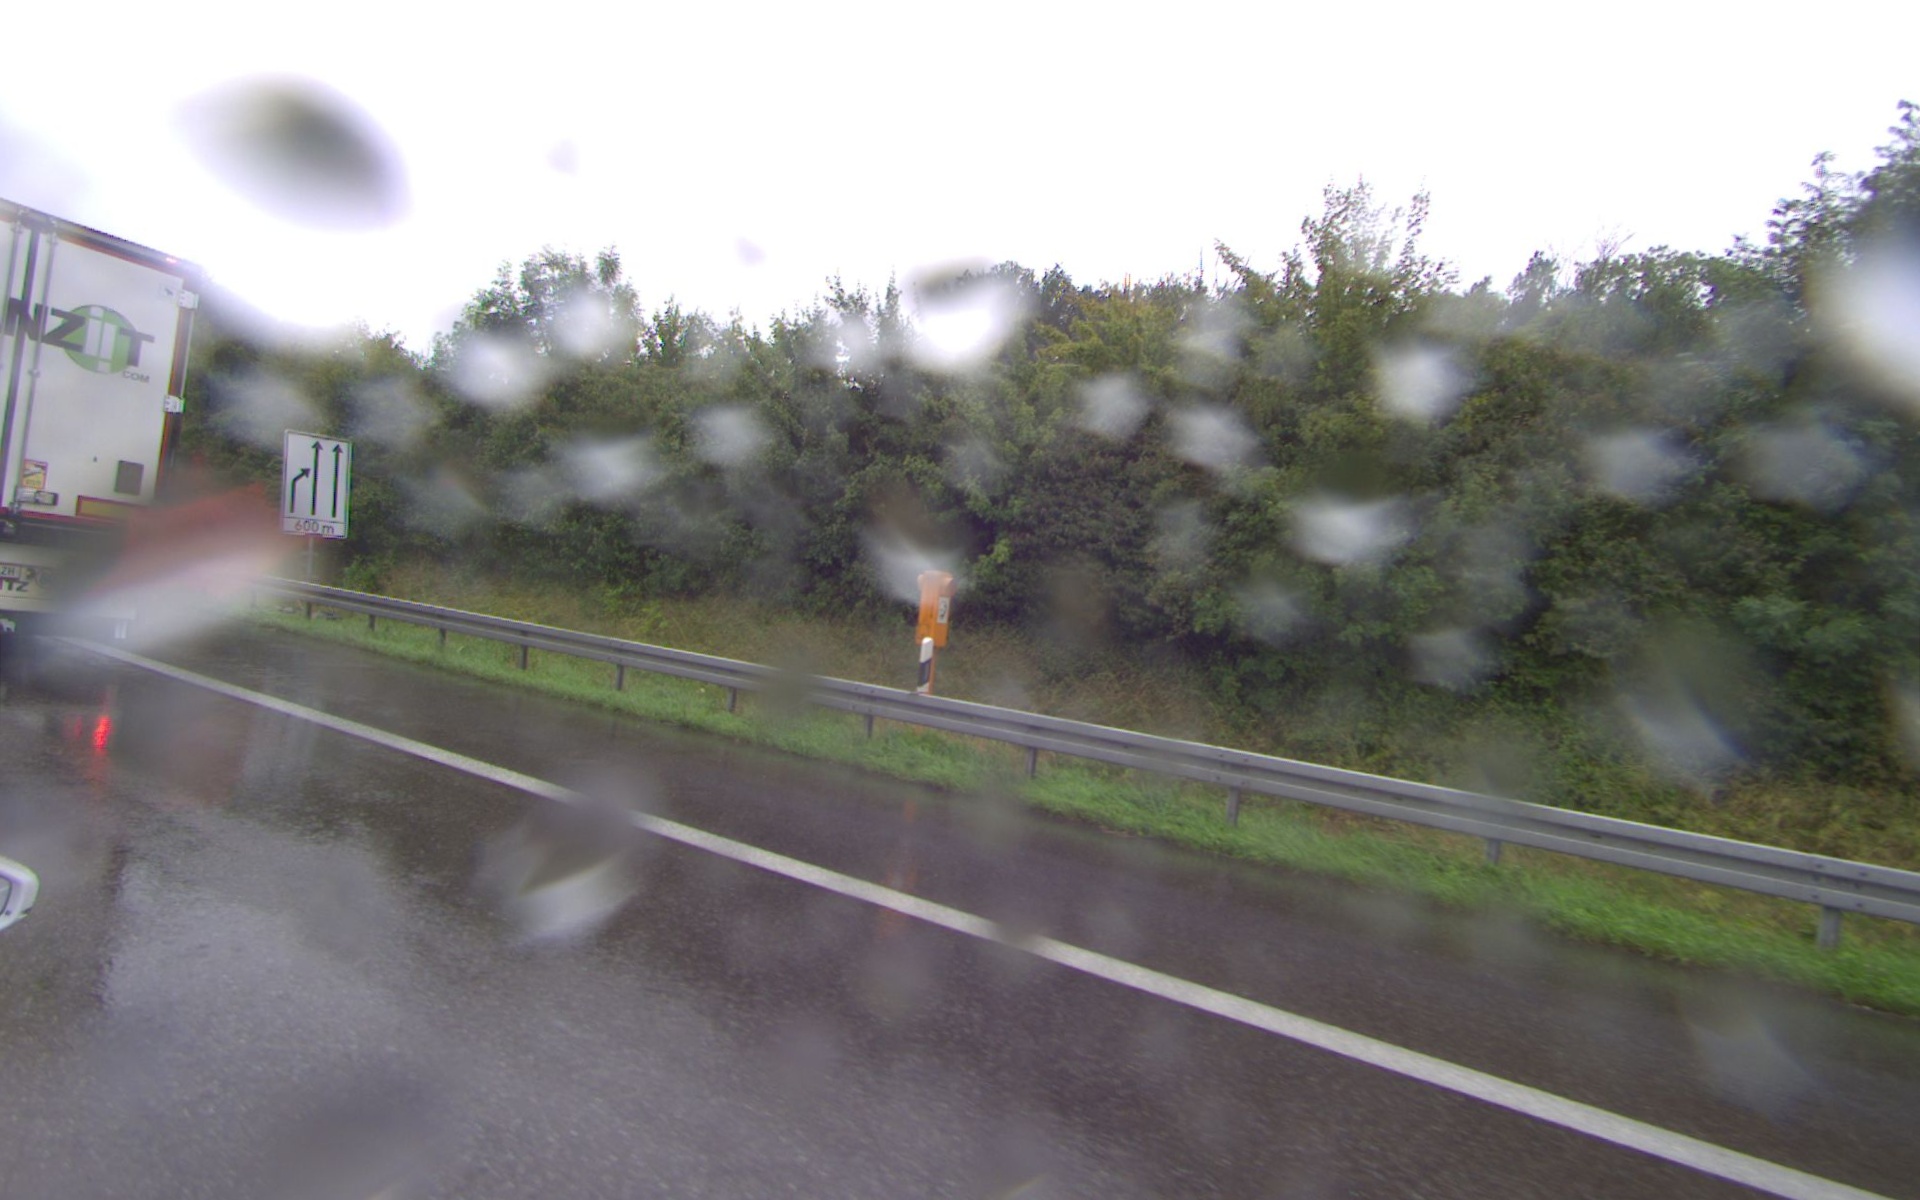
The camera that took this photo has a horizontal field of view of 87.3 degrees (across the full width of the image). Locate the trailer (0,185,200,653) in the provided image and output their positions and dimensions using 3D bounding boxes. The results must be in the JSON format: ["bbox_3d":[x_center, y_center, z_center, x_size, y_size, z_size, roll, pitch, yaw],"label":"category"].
[{"bbox_3d":[-14.611,-2.345,12.730,14.385,4.061,2.634,7,0,32],"label":"trailer"}]
